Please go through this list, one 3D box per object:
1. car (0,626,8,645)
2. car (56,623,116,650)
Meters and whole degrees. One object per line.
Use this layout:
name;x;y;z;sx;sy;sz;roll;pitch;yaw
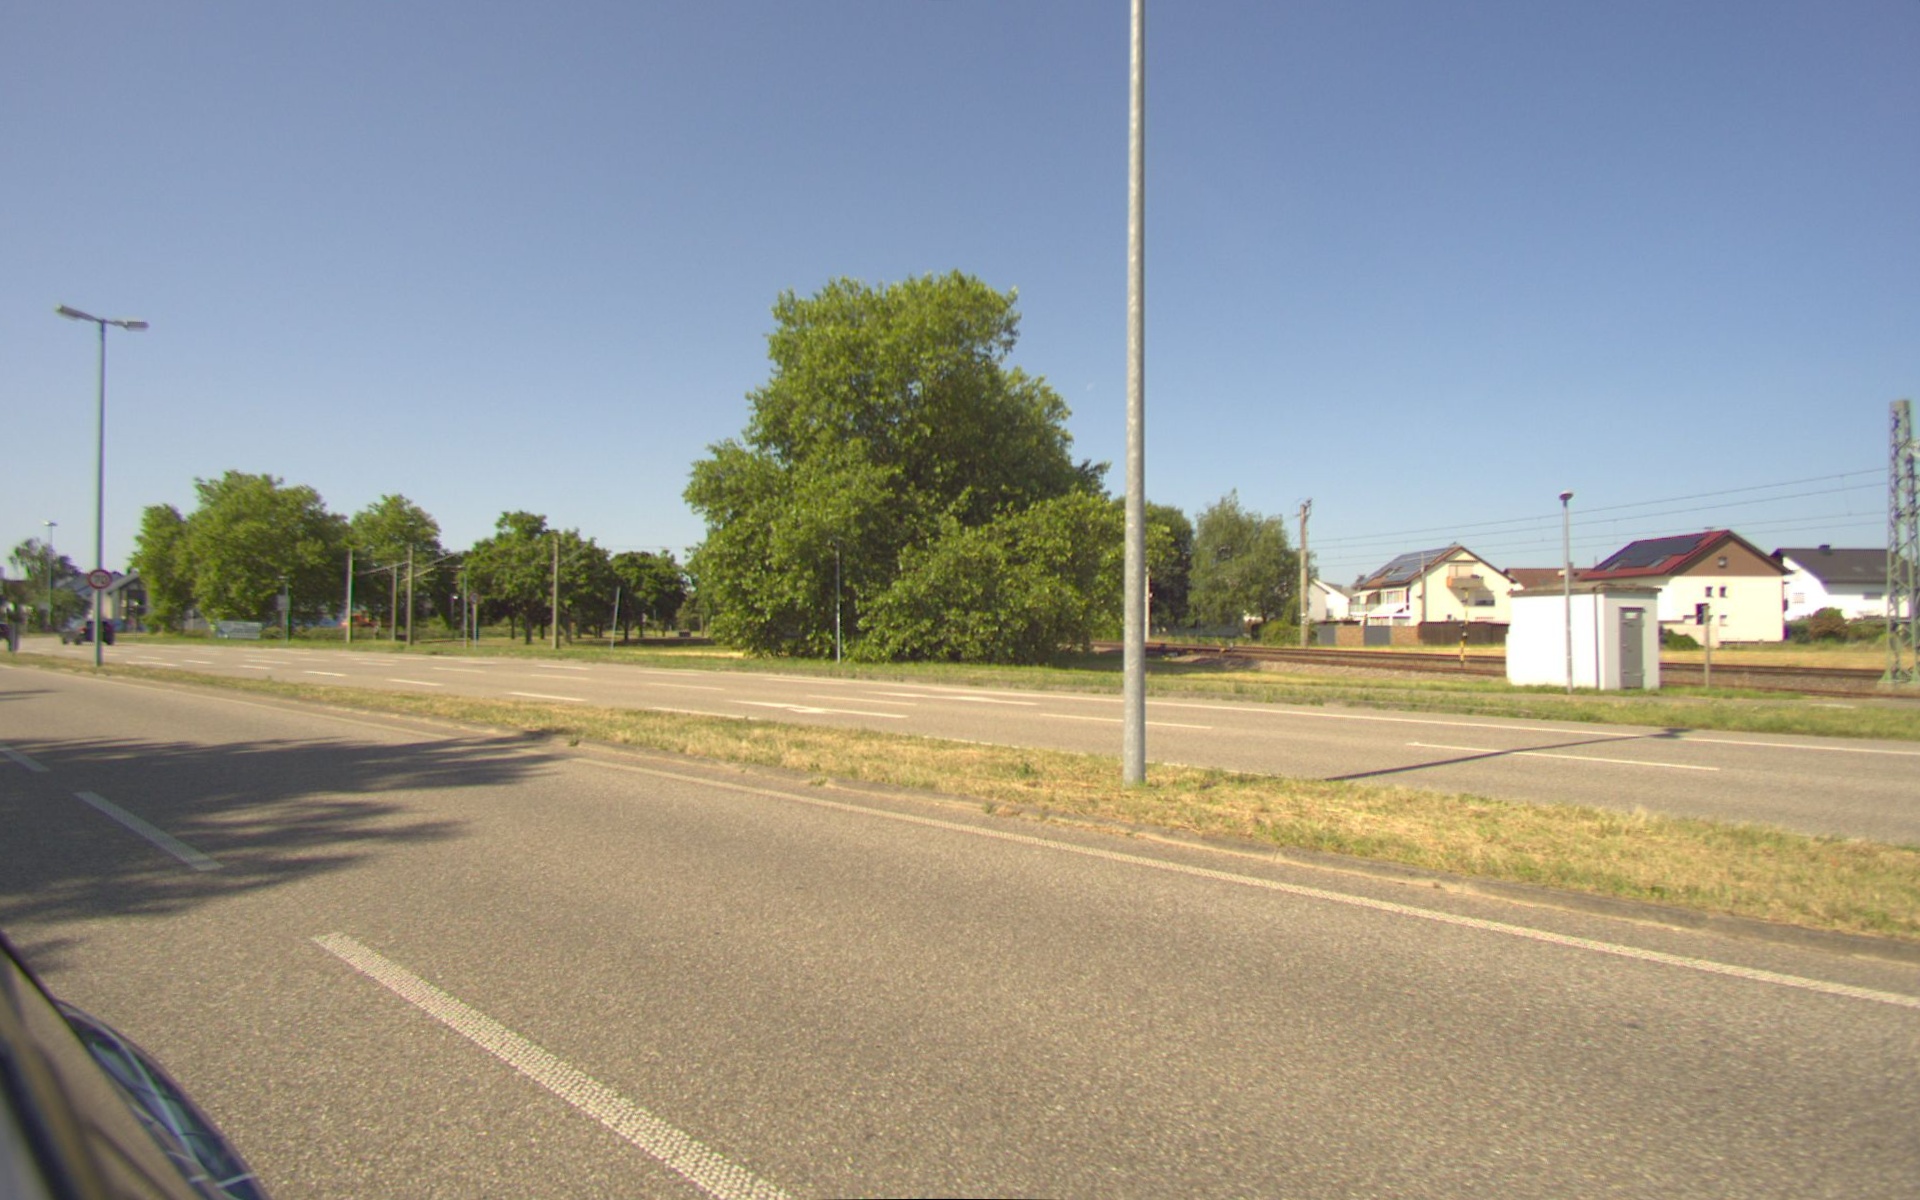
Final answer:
car;-77.216;2.803;80.273;4.463;1.476;1.813;-1;-2;38
car;-56.251;2.320;65.108;4.546;1.672;1.964;-1;-2;37
